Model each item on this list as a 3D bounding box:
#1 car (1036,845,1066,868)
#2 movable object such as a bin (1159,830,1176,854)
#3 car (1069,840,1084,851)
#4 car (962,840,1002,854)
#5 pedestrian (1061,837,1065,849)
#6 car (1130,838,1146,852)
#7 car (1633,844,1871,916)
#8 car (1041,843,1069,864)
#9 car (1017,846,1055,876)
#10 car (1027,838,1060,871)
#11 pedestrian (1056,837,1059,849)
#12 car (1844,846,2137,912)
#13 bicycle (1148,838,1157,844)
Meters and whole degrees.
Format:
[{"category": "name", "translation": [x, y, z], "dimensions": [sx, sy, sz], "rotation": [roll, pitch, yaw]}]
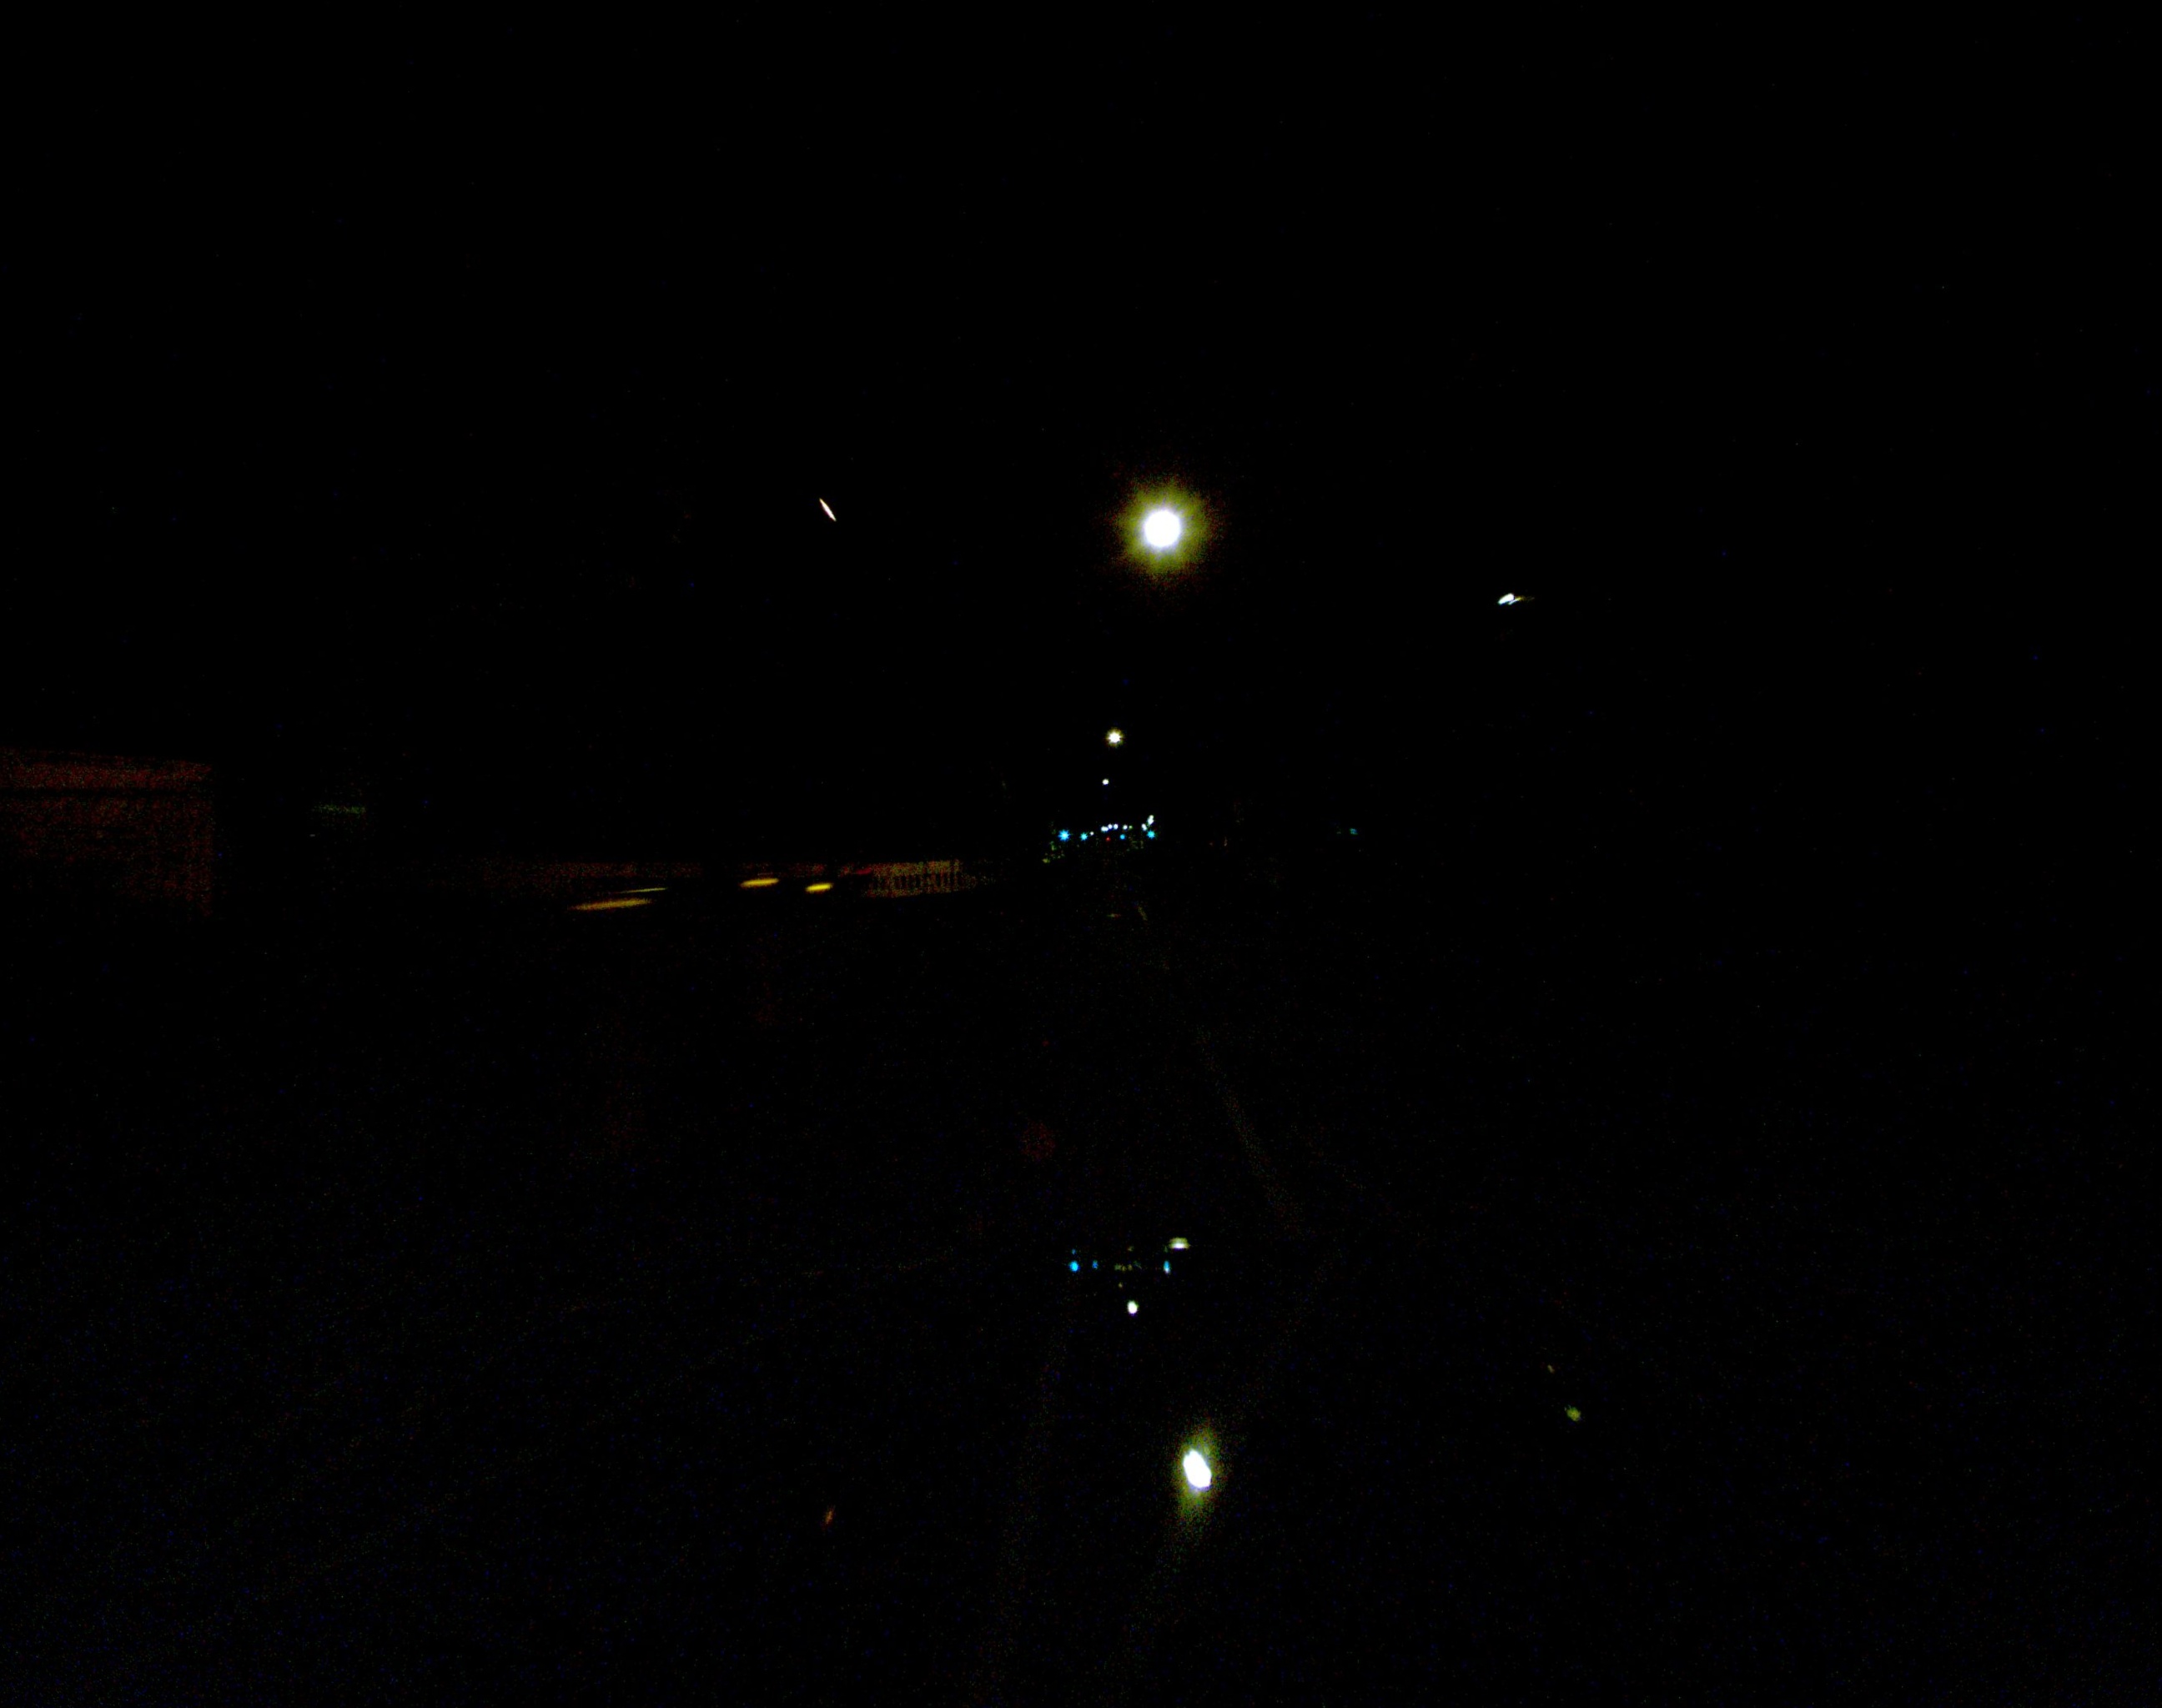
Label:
[{"category": "car", "translation": [-1.903, 0.128, 49.690], "dimensions": [1.690, 1.413, 4.443], "rotation": [0, 1, 1]}, {"category": "movable object such as a bin", "translation": [9.384, -1.318, 82.519], "dimensions": [1.575, 2.612, 3.909], "rotation": [0, 1, 2]}, {"category": "car", "translation": [-0.615, -1.199, 102.400], "dimensions": [1.740, 1.446, 4.000], "rotation": [0, 2, 4]}, {"category": "car", "translation": [-10.804, -0.738, 83.145], "dimensions": [4.202, 1.459, 1.851], "rotation": [0, 2, -2]}, {"category": "pedestrian", "translation": [-2.465, -1.544, 104.513], "dimensions": [0.508, 1.699, 0.705], "rotation": [0, 2, 2]}, {"category": "car", "translation": [7.746, -1.307, 103.499], "dimensions": [1.887, 1.833, 4.813], "rotation": [-1, 1, 1]}, {"category": "car", "translation": [15.290, 0.565, 17.489], "dimensions": [3.758, 1.547, 1.872], "rotation": [0, 1, 2]}, {"category": "car", "translation": [-1.855, -0.066, 55.579], "dimensions": [1.744, 1.469, 4.000], "rotation": [2, 1, 2]}, {"category": "car", "translation": [-2.271, 0.310, 39.334], "dimensions": [1.732, 1.411, 4.322], "rotation": [0, 1, -1]}, {"category": "car", "translation": [-2.124, -0.009, 44.337], "dimensions": [1.740, 1.844, 4.315], "rotation": [0, 1, 0]}, {"category": "pedestrian", "translation": [-3.223, -1.513, 104.093], "dimensions": [0.477, 1.699, 0.571], "rotation": [0, 2, 2]}, {"category": "car", "translation": [20.340, 0.537, 17.166], "dimensions": [4.239, 1.379, 1.872], "rotation": [0, 1, 2]}, {"category": "bicycle", "translation": [14.151, -2.535, 149.449], "dimensions": [1.772, 1.145, 0.583], "rotation": [1, 3, 44]}]
